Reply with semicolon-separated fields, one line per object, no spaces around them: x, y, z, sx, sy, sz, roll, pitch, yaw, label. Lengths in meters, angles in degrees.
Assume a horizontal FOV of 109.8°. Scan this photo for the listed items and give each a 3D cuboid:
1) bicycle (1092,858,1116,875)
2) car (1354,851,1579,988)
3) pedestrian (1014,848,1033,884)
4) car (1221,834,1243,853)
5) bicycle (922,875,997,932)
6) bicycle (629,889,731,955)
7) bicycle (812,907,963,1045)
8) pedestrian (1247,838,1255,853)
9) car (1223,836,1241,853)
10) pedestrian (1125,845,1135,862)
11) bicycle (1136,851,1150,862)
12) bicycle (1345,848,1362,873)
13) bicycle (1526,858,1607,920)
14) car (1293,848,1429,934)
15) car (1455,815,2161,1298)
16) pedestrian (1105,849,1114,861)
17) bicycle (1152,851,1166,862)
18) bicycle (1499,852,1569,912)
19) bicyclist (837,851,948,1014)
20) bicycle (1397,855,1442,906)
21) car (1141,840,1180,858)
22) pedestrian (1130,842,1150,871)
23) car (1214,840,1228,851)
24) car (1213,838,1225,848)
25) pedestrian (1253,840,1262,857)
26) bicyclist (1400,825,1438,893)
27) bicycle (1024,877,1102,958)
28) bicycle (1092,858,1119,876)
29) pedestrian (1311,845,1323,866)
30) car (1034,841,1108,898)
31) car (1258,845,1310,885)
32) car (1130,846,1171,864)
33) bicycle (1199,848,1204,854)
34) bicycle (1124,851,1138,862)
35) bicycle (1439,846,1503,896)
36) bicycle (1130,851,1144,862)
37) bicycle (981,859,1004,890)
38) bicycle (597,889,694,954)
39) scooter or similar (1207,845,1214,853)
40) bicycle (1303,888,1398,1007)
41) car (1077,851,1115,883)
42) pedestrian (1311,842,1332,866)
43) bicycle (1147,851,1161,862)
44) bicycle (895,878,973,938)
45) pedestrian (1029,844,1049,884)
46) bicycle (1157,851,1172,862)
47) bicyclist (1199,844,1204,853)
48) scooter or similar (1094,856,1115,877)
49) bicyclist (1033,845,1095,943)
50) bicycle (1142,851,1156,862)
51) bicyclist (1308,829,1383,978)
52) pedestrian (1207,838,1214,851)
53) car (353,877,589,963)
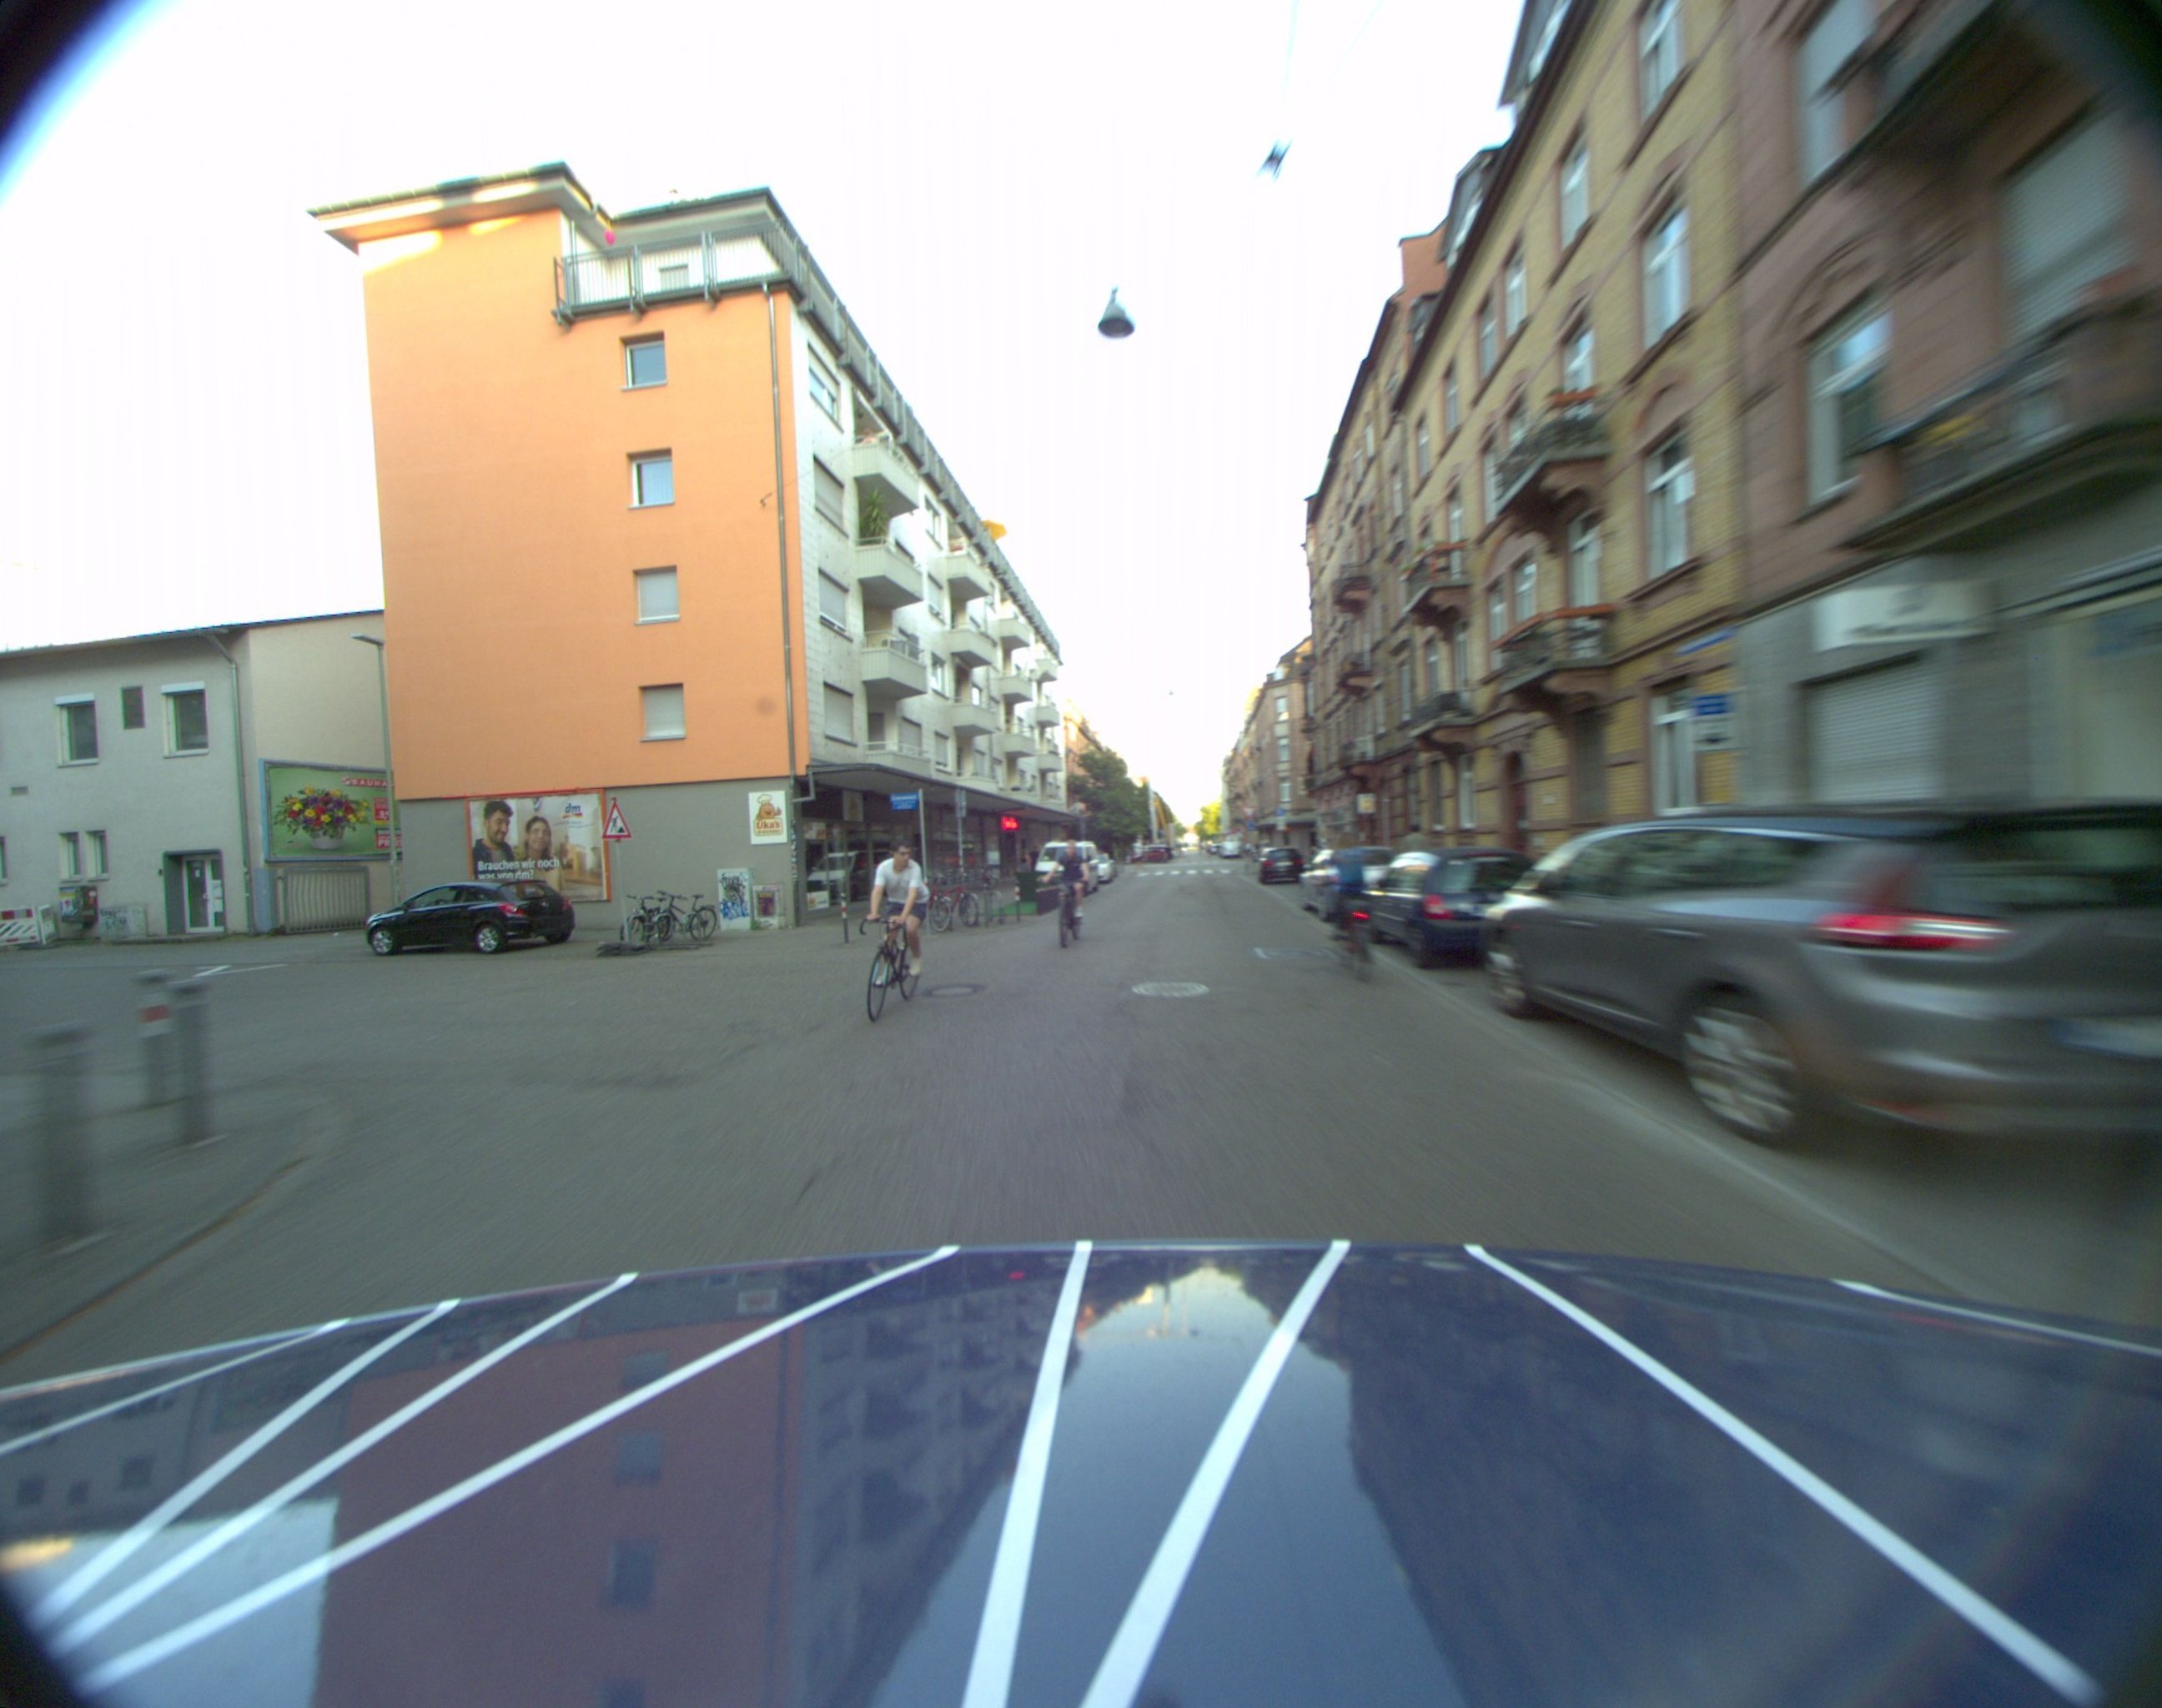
1.366;0.744;44.987;1.420;0.978;0.511;-1;2;6;bicycle
4.863;0.726;10.144;1.588;1.412;3.699;-3;0;10;car
-2.667;0.550;35.455;0.710;1.656;0.745;-1;2;8;pedestrian
17.289;-1.213;87.118;2.140;1.947;4.771;-3;1;7;car
-2.746;1.081;17.088;0.658;1.128;1.939;-2;2;-44;bicycle
-7.892;1.307;15.062;0.563;1.061;1.965;-1;2;14;bicycle
-1.858;1.153;7.654;0.657;1.012;1.919;-3;2;11;bicycle
20.233;-1.008;90.358;0.748;1.733;1.214;-3;1;15;pedestrian
18.460;-1.199;93.031;1.878;1.892;4.329;-3;1;10;car
4.786;-0.040;73.869;0.537;1.597;0.870;-2;0;35;pedestrian
6.380;0.249;78.772;0.666;1.125;2.112;-1;1;-19;bicycle
12.176;0.265;33.979;0.426;1.047;1.899;-3;1;12;bicycle
9.054;0.617;14.252;0.550;1.031;1.761;-5;0;9;bicycle
5.701;0.667;16.043;1.726;1.412;4.584;-4;1;9;car
4.125;0.684;4.770;1.856;1.624;4.448;-3;0;9;car
2.991;0.113;79.830;0.721;1.297;0.750;-2;1;-11;pedestrian
8.192;0.231;79.683;0.666;1.162;2.112;-1;1;-19;bicycle
9.273;0.549;15.636;0.550;1.117;1.761;-5;0;9;bicycle
-1.871;0.754;7.658;0.650;1.500;0.954;-3;2;11;bicyclist
8.967;0.672;20.170;0.709;1.189;1.743;-3;2;12;bicycle
11.528;-0.755;110.295;5.149;2.182;2.335;-4;2;-16;car
3.863;0.174;49.668;1.047;1.800;0.757;-4;-2;19;pedestrian
23.377;-1.440;127.128;2.140;1.811;4.543;-3;1;9;car
26.544;-2.045;146.373;1.997;1.729;4.002;-3;2;12;car
18.318;-0.587;78.997;0.654;1.768;0.693;-3;0;27;pedestrian
8.935;0.116;20.122;0.709;1.720;0.843;-3;2;12;bicyclist
-0.249;1.008;12.822;0.793;1.133;2.345;-3;0;10;bicycle
1.446;0.752;44.501;1.481;0.996;0.511;0;2;15;bicycle
13.023;0.080;41.916;0.504;1.137;0.791;-3;2;10;pedestrian
-0.282;0.528;29.056;1.962;1.962;5.005;-1;0;9;car
7.998;0.399;30.262;1.696;1.412;3.857;-3;0;11;car
7.488;0.074;82.113;4.003;1.658;1.824;-4;2;-22;car
22.359;-0.605;141.278;0.754;1.124;1.976;-3;0;3;bicycle
5.117;0.241;78.357;0.666;1.158;2.112;-1;1;-19;bicycle
9.582;0.399;18.731;0.740;1.117;1.611;-4;0;2;bicycle
5.819;0.244;78.567;0.666;1.158;2.112;-1;1;-19;bicycle
-3.681;0.850;31.753;0.913;1.189;1.710;0;1;-5;bicycle
-8.574;1.306;15.049;0.563;1.061;1.758;-1;2;14;bicycle
17.401;-0.686;102.241;0.809;1.098;1.172;-2;1;5;scooter or similar
3.022;0.986;8.723;0.646;1.075;2.170;-1;1;9;bicycle
0.793;0.627;38.039;1.595;1.492;3.424;-1;1;6;car
12.936;0.012;40.951;0.650;1.247;0.908;-6;0;-7;pedestrian
7.641;0.252;79.292;0.666;1.125;2.112;-1;1;-19;bicycle
-3.164;1.111;16.199;0.658;1.128;1.939;-2;2;-44;bicycle
-1.936;0.468;35.208;0.710;1.818;0.861;-1;2;8;pedestrian
8.734;0.226;79.473;0.666;1.162;2.112;-1;1;-19;bicycle
22.335;-1.011;141.277;0.754;1.630;1.201;-3;0;3;bicyclist
1.308;0.686;43.106;1.163;1.164;0.537;-1;-1;2;scooter or similar
-0.270;0.659;12.823;0.793;1.562;0.827;-3;0;10;bicyclist
7.022;0.254;79.037;0.666;1.125;2.112;-1;1;-19;bicycle
3.010;0.534;8.721;0.646;1.611;0.919;-1;1;9;bicyclist
17.382;-1.285;102.231;0.809;1.650;0.672;-2;1;5;pedestrian
-12.487;1.333;15.649;3.674;1.467;1.706;-2;2;10;car
